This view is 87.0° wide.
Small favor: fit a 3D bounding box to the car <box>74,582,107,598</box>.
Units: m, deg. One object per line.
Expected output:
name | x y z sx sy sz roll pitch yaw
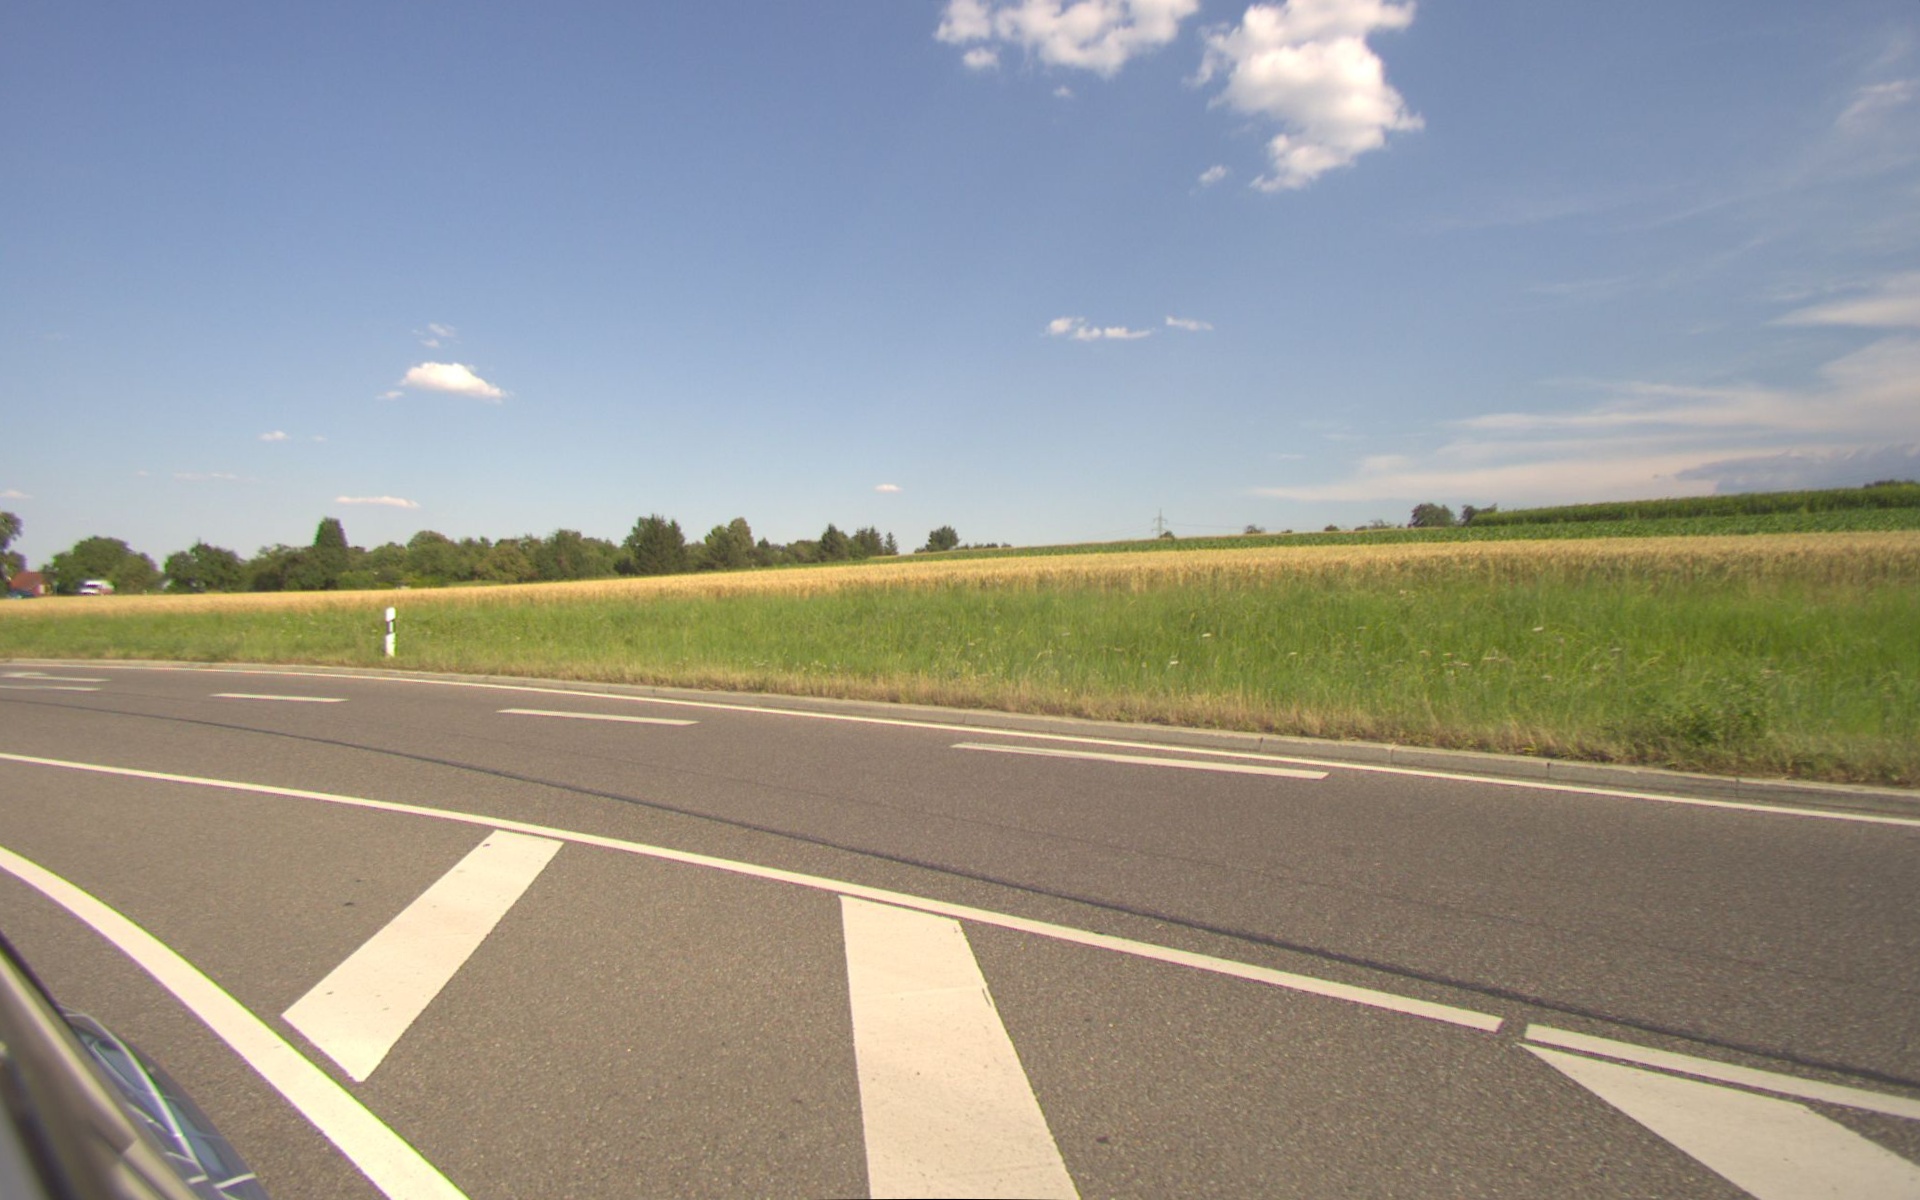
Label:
car | -125.816 -1.451 146.472 1.967 2.028 4.012 -5 4 -15
